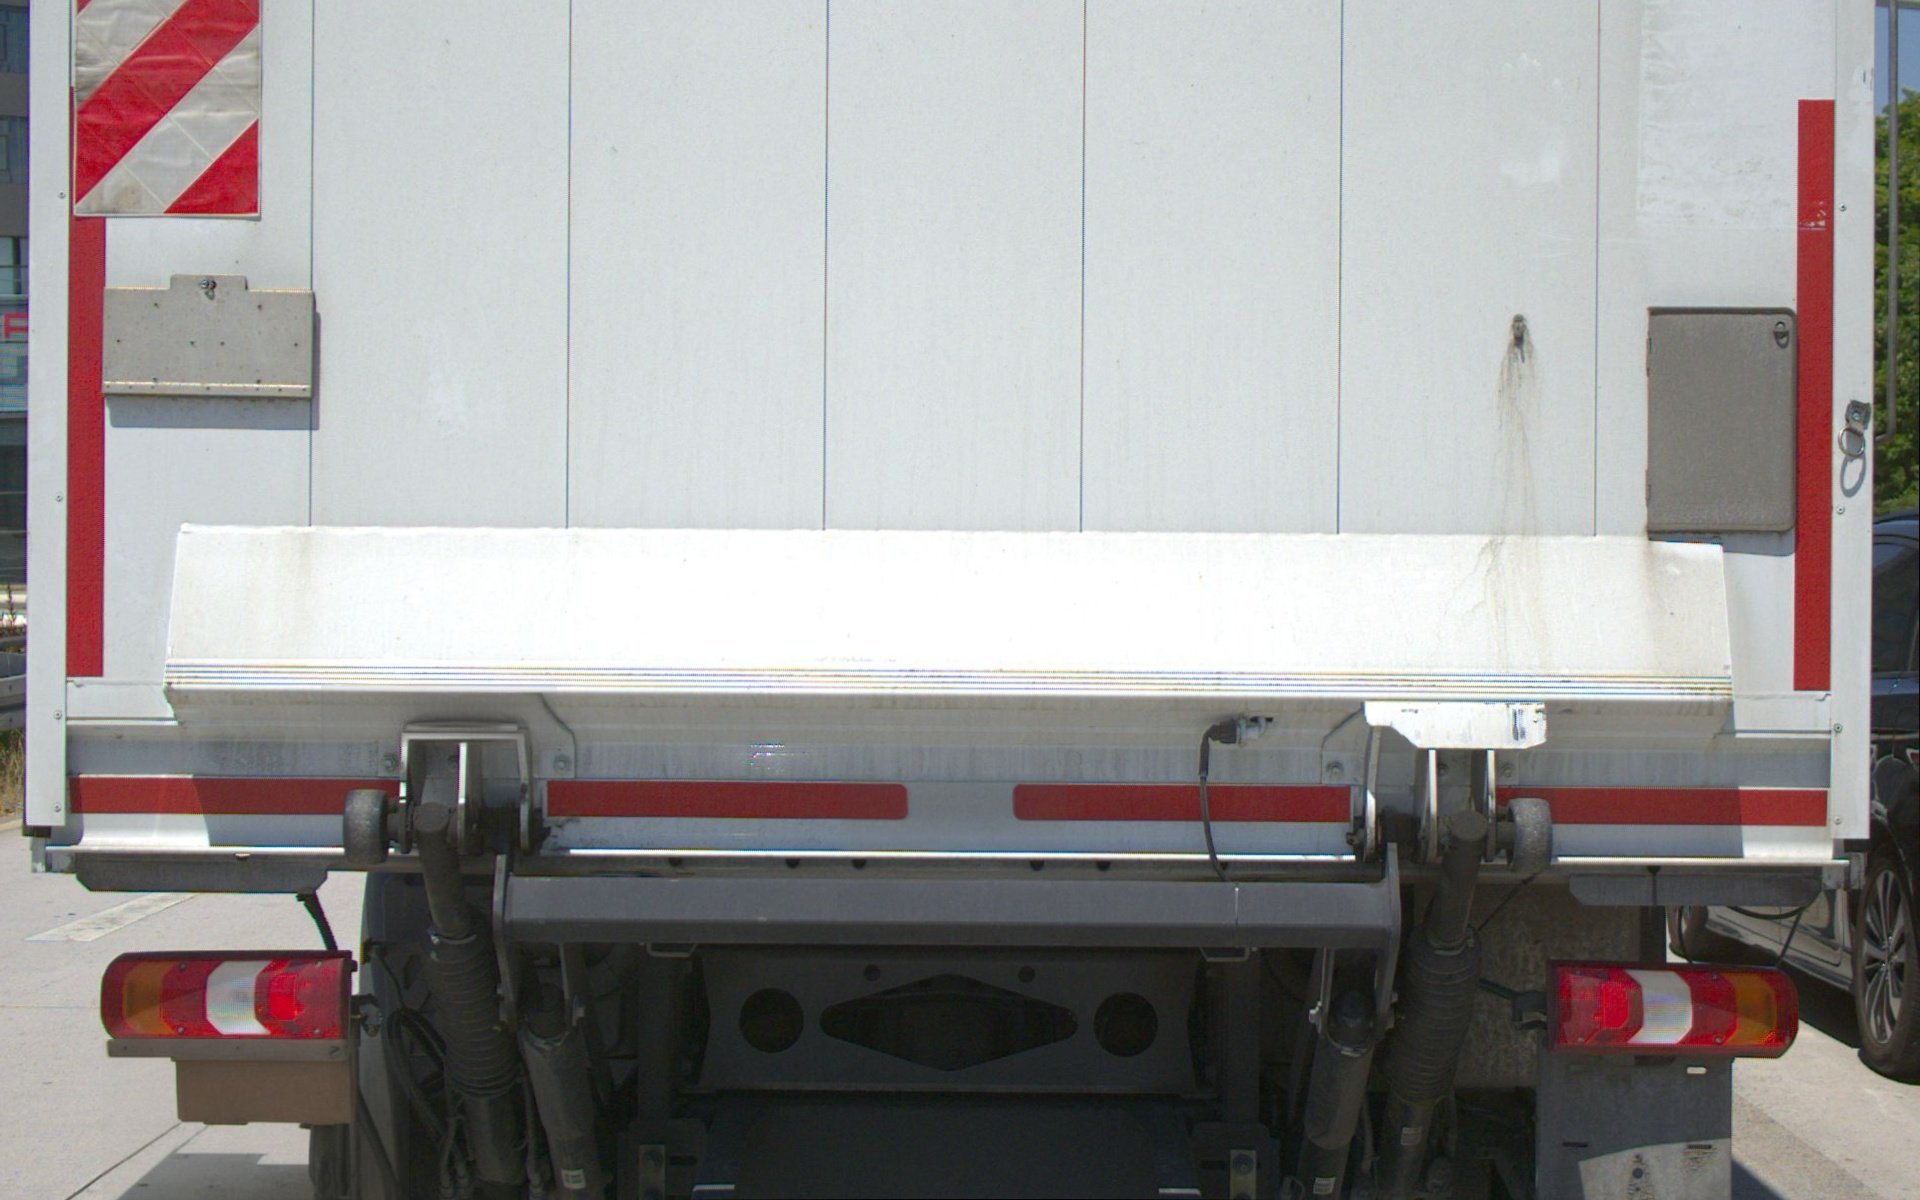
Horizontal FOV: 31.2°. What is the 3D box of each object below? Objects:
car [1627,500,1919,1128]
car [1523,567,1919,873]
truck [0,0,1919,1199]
[{"bbox_3d":[3.455,0.548,11.106,1.784,1.634,4.647,1,1,1],"label":"car"},{"bbox_3d":[4.185,0.539,18.277,1.768,1.405,4.609,1,1,2],"label":"car"},{"bbox_3d":[-0.008,-0.547,9.192,2.769,3.846,9.371,1,1,-1],"label":"truck"}]
